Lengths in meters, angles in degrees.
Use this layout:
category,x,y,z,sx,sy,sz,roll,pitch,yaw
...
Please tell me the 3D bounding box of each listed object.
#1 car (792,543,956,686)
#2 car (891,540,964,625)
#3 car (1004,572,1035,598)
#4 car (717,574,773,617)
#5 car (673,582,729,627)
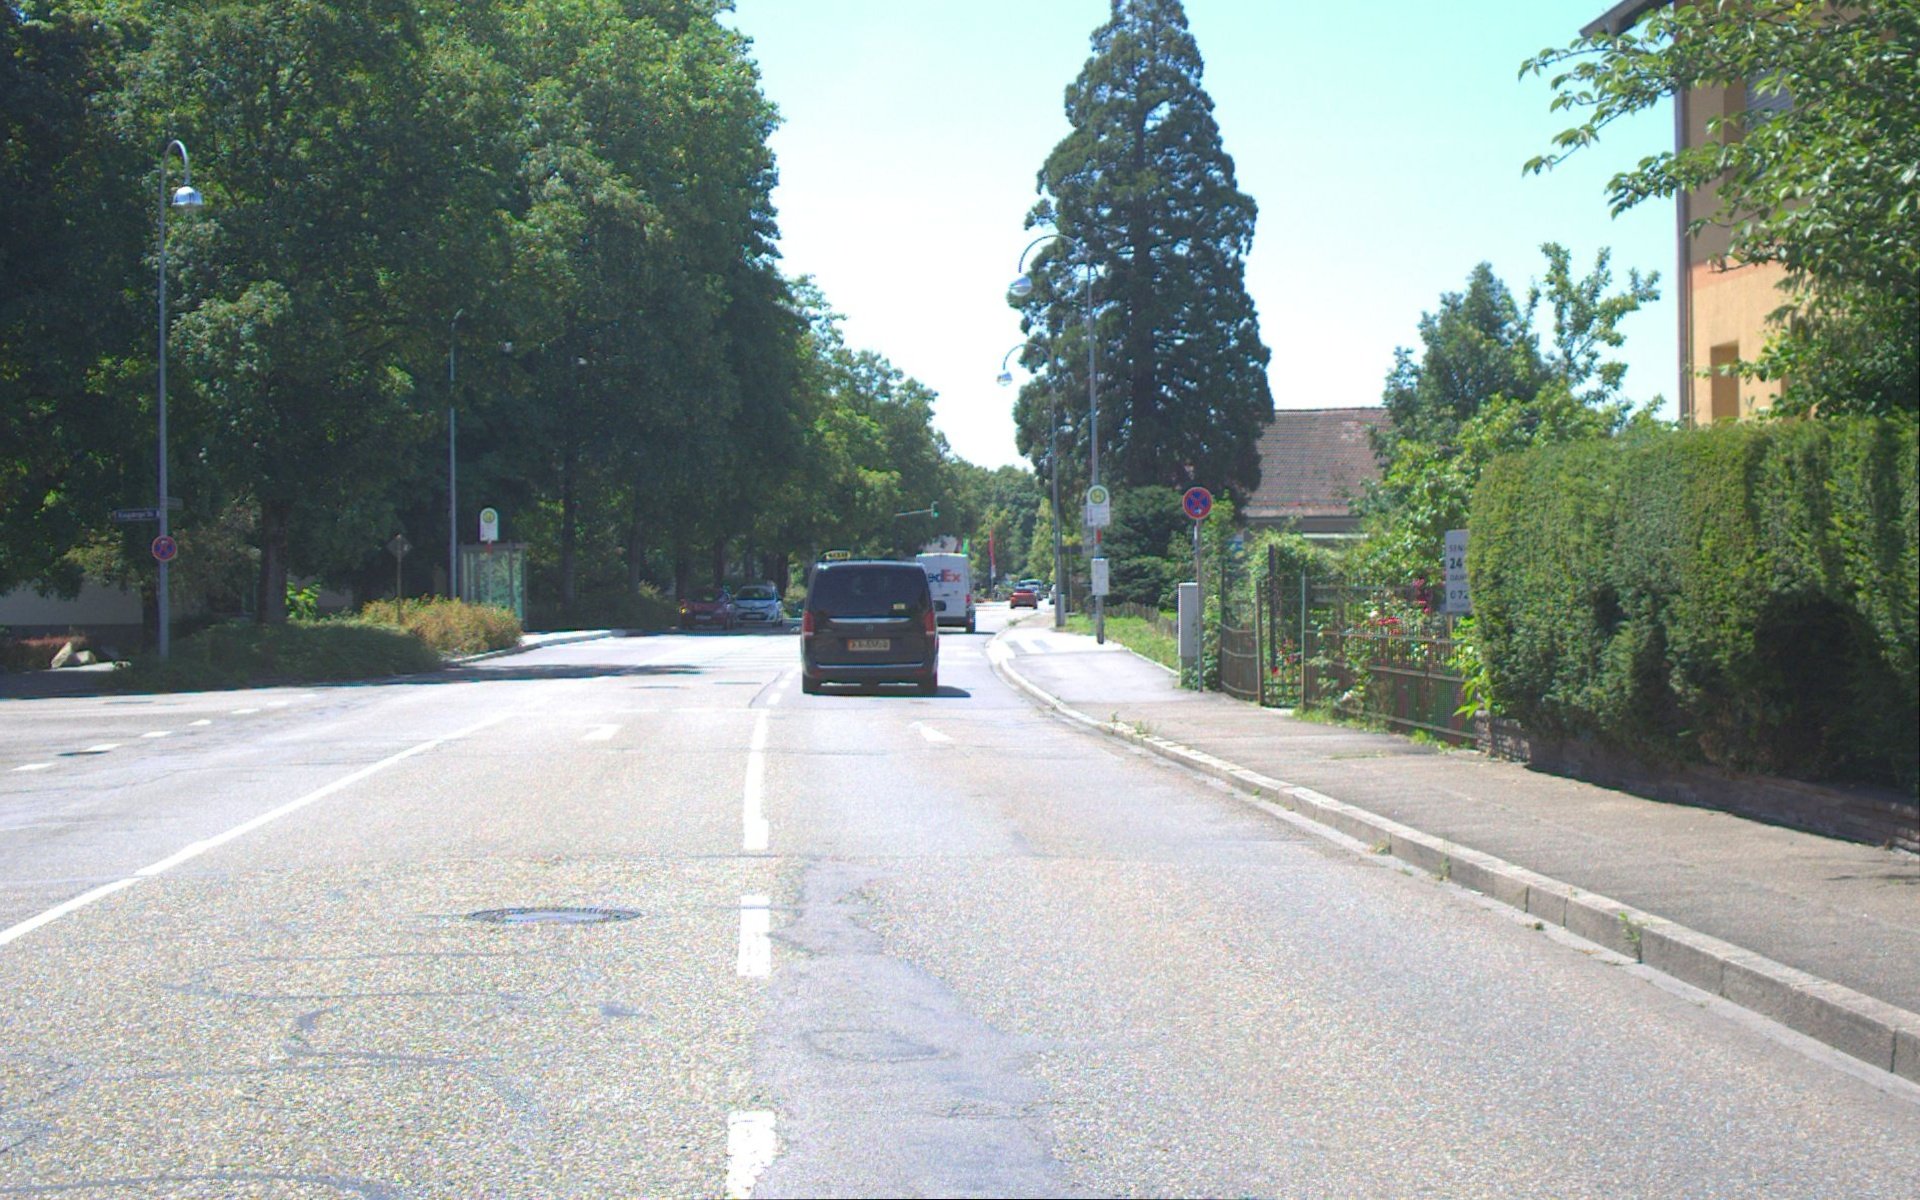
category,x,y,z,sx,sy,sz,roll,pitch,yaw
car,-1.156,0.160,48.165,1.994,1.887,4.000,1,1,3
car,-1.034,-0.616,112.968,2.120,2.668,5.662,1,1,2
car,3.926,-1.025,227.088,1.857,1.637,4.000,1,1,-1
car,-7.563,-0.171,121.279,1.691,1.455,3.639,1,1,1
car,-8.576,0.151,114.025,1.550,1.445,3.691,1,0,0
